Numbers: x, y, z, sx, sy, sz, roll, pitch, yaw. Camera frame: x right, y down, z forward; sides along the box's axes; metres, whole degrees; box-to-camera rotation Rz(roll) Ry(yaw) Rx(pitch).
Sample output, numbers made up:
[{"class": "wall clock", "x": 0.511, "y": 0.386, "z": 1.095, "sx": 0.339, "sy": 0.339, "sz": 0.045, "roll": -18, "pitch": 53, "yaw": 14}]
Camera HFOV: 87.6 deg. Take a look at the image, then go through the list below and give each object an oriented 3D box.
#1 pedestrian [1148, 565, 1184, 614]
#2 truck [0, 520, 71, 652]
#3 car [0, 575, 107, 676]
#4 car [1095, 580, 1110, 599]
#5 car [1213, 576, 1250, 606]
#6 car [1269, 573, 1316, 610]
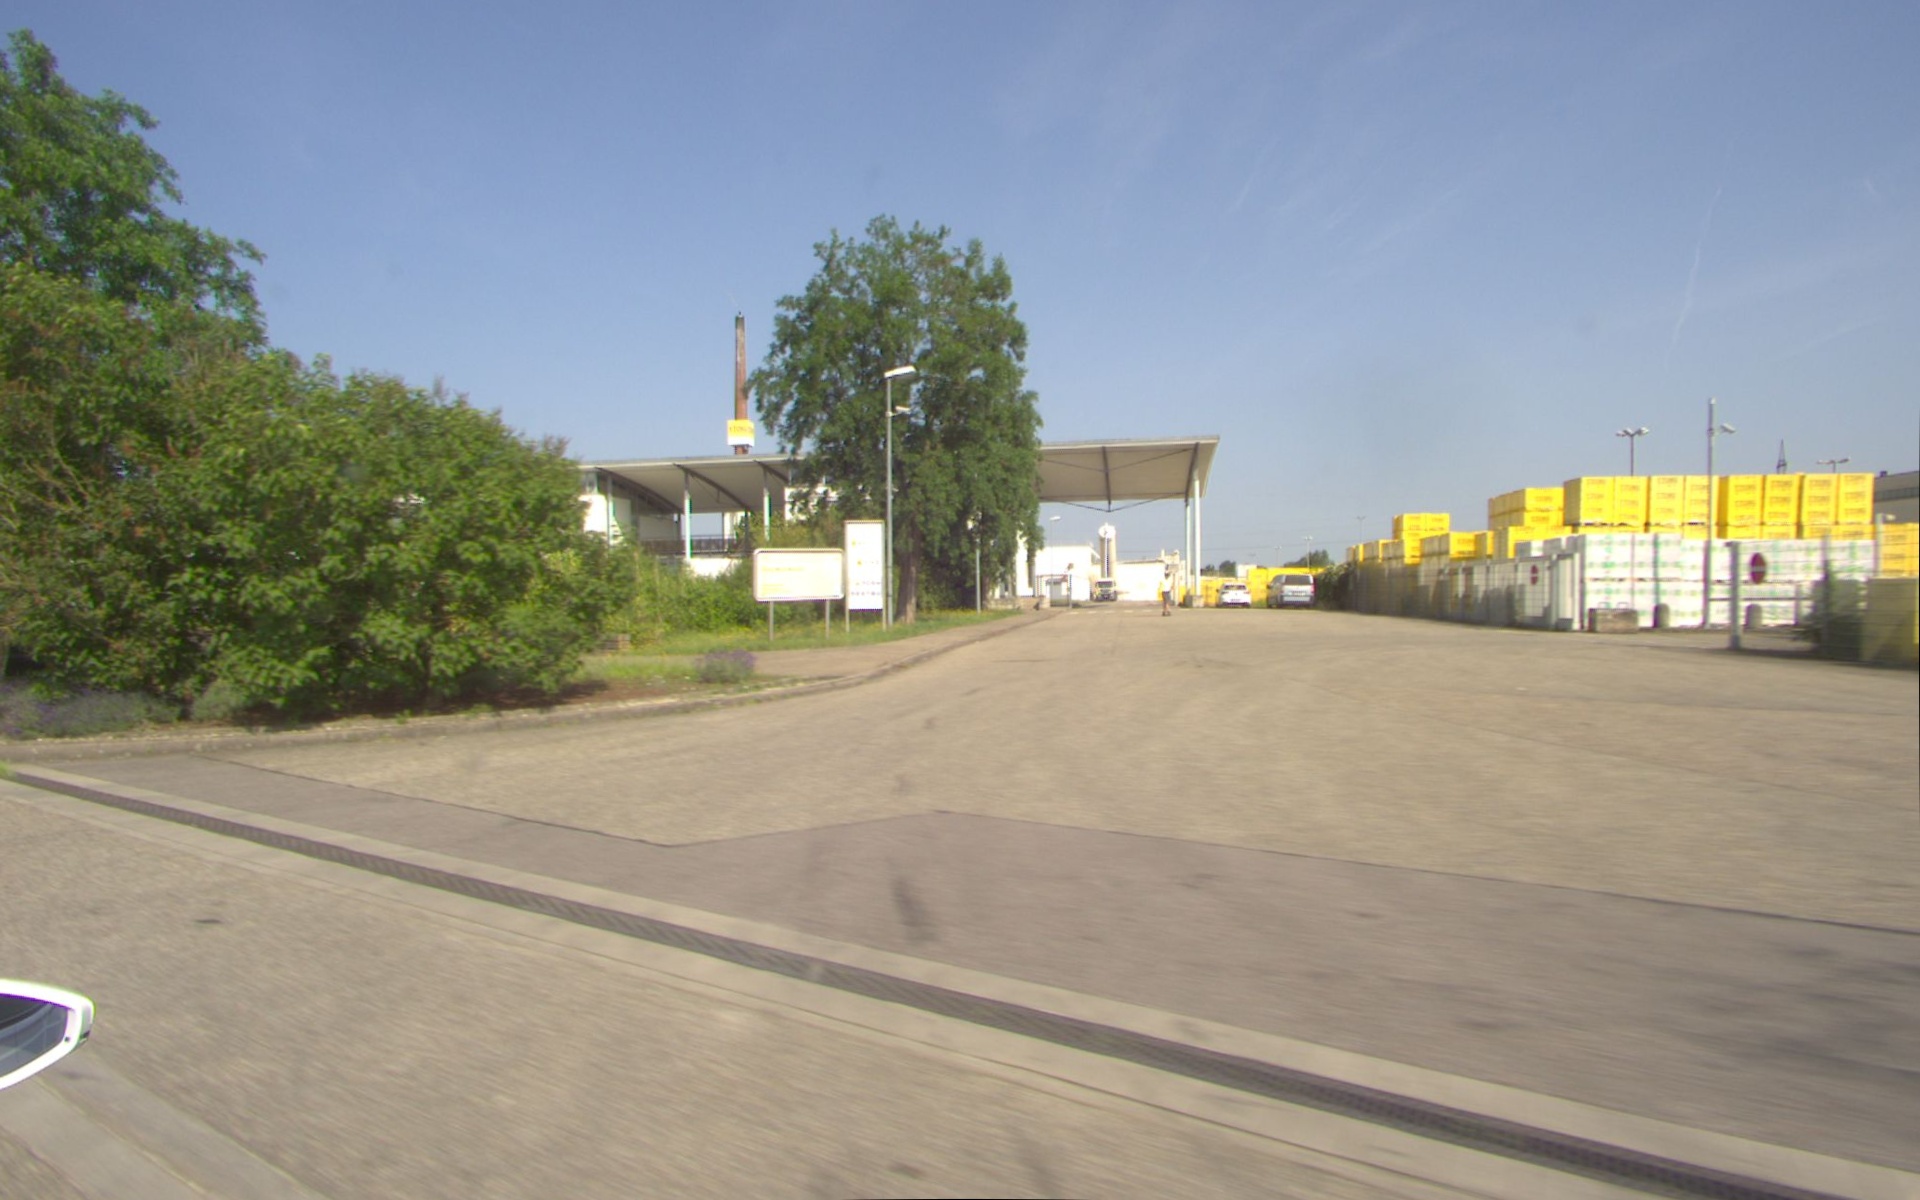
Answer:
[{"class": "pedestrian", "x": 8.795, "y": -0.416, "z": 42.803, "sx": 0.971, "sy": 2.039, "sz": 1.152, "roll": 0, "pitch": -1, "yaw": -38}, {"class": "truck", "x": -27.550, "y": -0.266, "z": 24.454, "sx": 2.701, "sy": 3.415, "sz": 8.192, "roll": -1, "pitch": 1, "yaw": 31}, {"class": "car", "x": -18.792, "y": 0.488, "z": 18.677, "sx": 1.972, "sy": 1.862, "sz": 3.976, "roll": 0, "pitch": 1, "yaw": 33}, {"class": "car", "x": 20.832, "y": -1.510, "z": 146.285, "sx": 1.962, "sy": 2.722, "sz": 5.690, "roll": -1, "pitch": 1, "yaw": 9}, {"class": "car", "x": 15.411, "y": -0.490, "z": 57.020, "sx": 1.695, "sy": 1.527, "sz": 3.999, "roll": -1, "pitch": -2, "yaw": 10}, {"class": "car", "x": 18.319, "y": -0.426, "z": 55.315, "sx": 1.962, "sy": 1.839, "sz": 3.999, "roll": -1, "pitch": -2, "yaw": 11}]
